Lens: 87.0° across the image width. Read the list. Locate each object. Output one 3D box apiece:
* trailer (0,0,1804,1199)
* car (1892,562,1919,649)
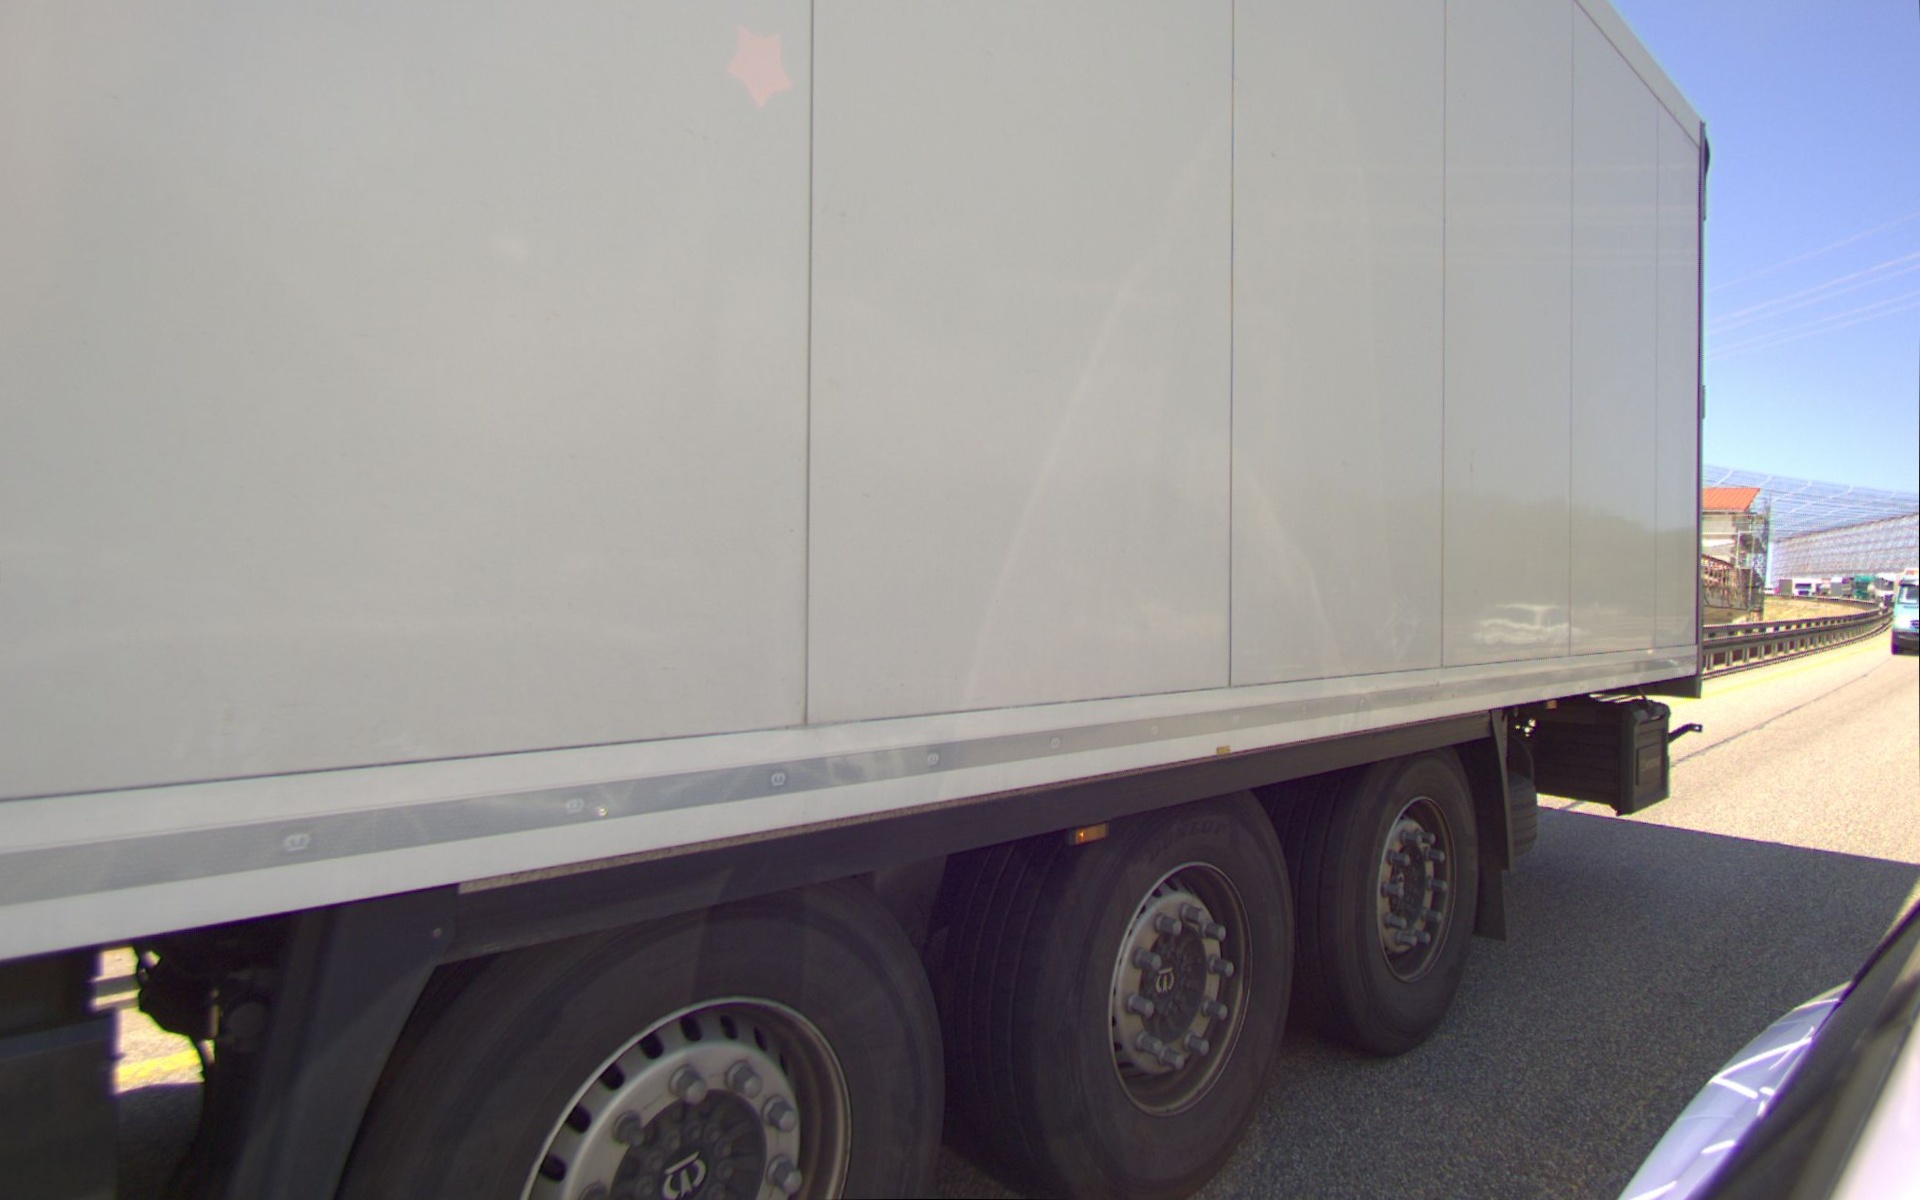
[{"bbox_3d":[0.495,-0.689,3.856,11.349,4.179,2.535,-1,0,-42],"label":"trailer"},{"bbox_3d":[28.818,0.133,29.141,6.782,2.355,2.215,-1,1,-41],"label":"car"}]
